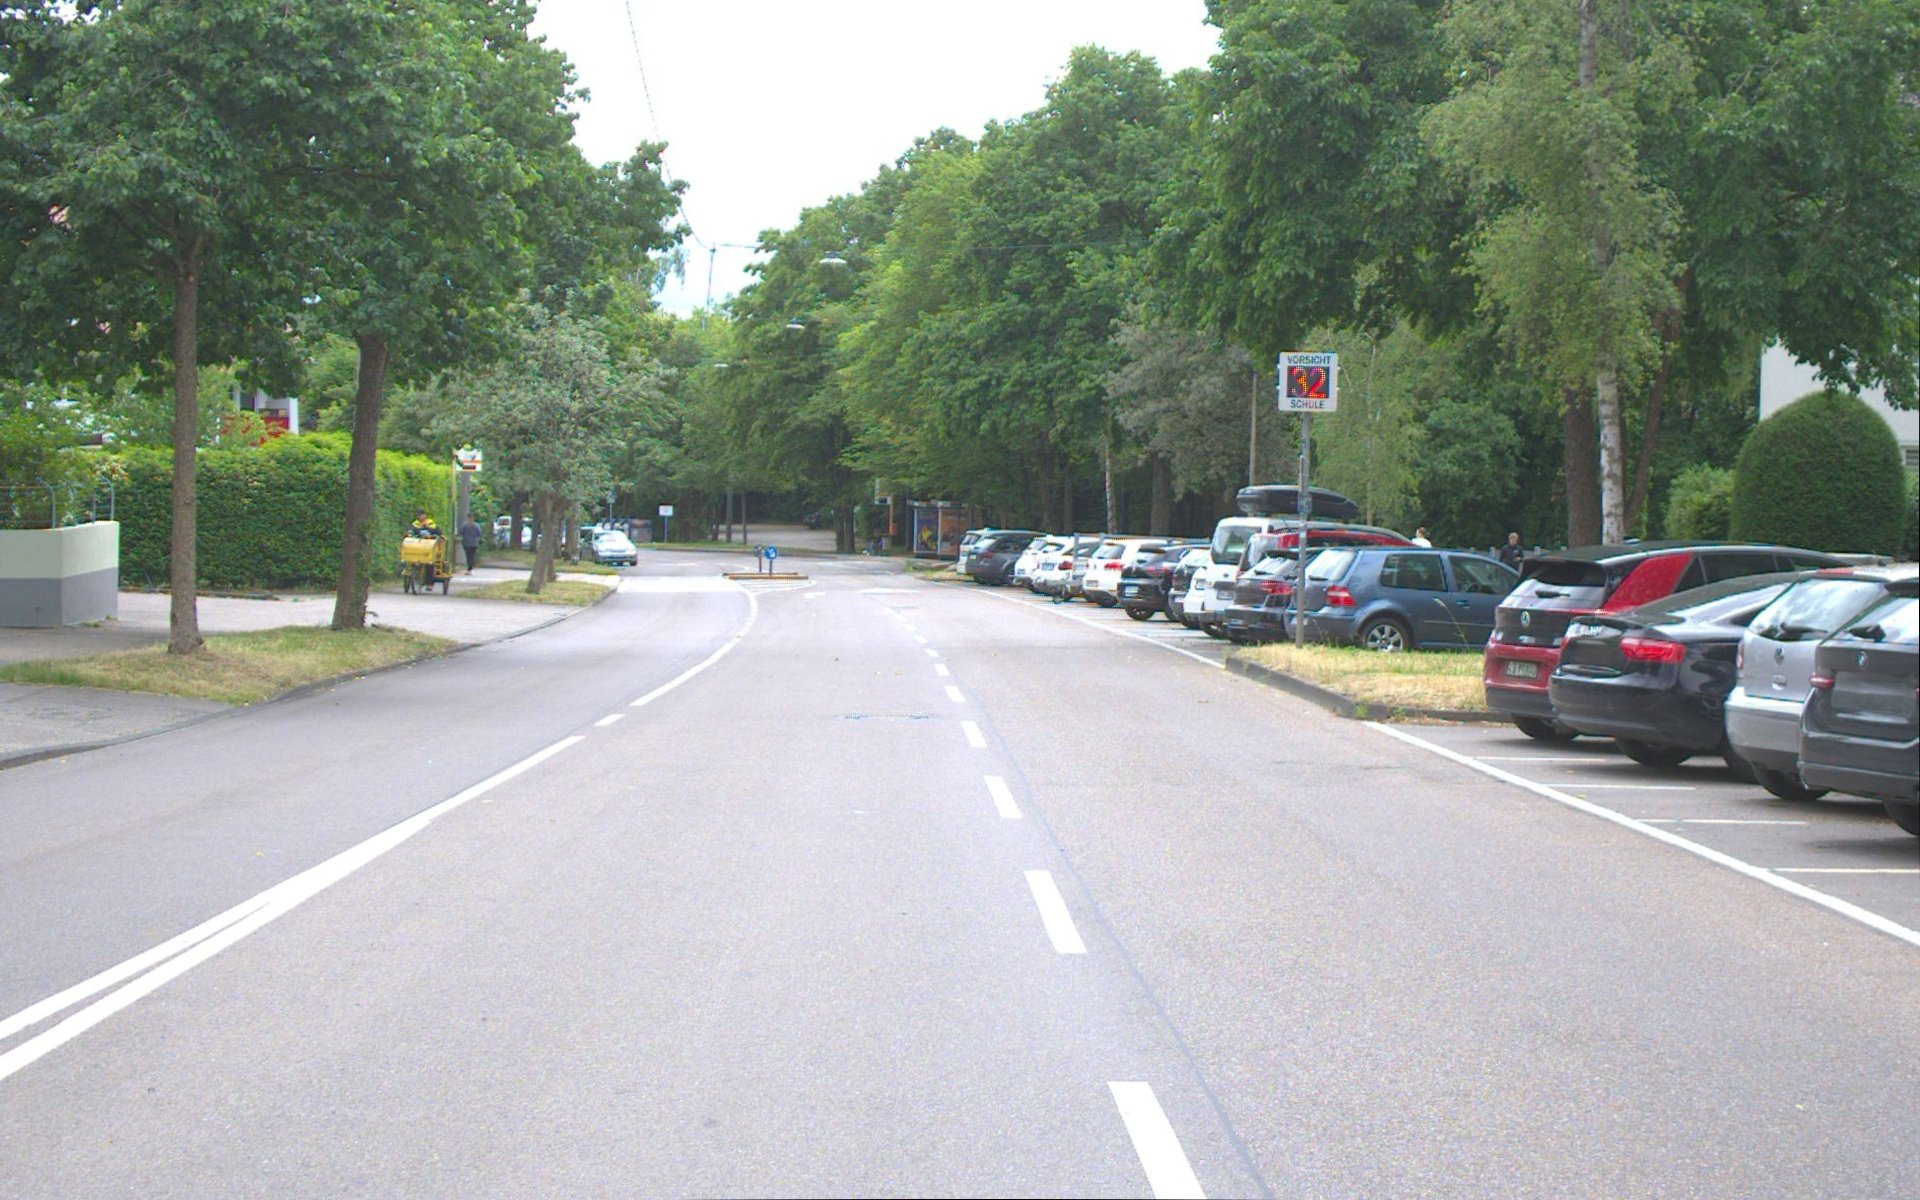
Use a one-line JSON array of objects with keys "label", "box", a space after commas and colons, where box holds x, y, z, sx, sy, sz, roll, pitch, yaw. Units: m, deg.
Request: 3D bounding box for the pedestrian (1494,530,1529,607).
[{"label": "pedestrian", "box": [11.596, -0.663, 72.303, 0.649, 1.598, 0.743, 1, 1, 4]}]

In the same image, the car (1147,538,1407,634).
[{"label": "car", "box": [5.304, -0.232, 57.597, 3.883, 1.444, 1.845, 2, 1, -21]}]

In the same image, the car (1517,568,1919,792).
[{"label": "car", "box": [6.060, 0.536, 22.734, 4.311, 1.336, 1.734, 2, 1, -14]}]

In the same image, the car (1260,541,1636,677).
[{"label": "car", "box": [5.749, 0.102, 40.638, 3.963, 1.400, 1.757, 2, 1, -15]}]

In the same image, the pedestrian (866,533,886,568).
[{"label": "pedestrian", "box": [-3.770, -2.241, 154.457, 0.741, 1.564, 0.651, 1, 1, 10]}]

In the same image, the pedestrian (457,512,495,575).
[{"label": "pedestrian", "box": [-13.274, -1.553, 94.295, 0.974, 1.724, 0.849, 1, 1, -5]}]

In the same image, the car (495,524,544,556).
[{"label": "car", "box": [-21.398, -2.913, 166.818, 1.866, 1.466, 4.001, 1, 1, -14]}]

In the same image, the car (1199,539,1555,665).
[{"label": "car", "box": [5.236, 0.025, 43.219, 4.026, 1.400, 1.757, 2, 1, -19]}]

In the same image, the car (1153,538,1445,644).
[{"label": "car", "box": [5.185, -0.148, 52.751, 3.965, 1.444, 1.919, 2, 1, -16]}]

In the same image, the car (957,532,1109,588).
[{"label": "car", "box": [2.049, -1.128, 96.917, 3.883, 1.424, 1.744, 1, 1, -20]}]

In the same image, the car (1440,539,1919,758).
[{"label": "car", "box": [5.810, 0.353, 25.631, 4.070, 1.510, 1.734, 1, 1, -23]}]

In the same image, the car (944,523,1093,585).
[{"label": "car", "box": [1.693, -1.335, 99.697, 3.883, 1.662, 1.744, 1, 1, -20]}]

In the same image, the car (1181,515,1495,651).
[{"label": "car", "box": [5.399, -0.240, 49.033, 4.085, 1.748, 1.787, 2, 1, -27]}]

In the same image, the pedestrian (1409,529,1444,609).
[{"label": "pedestrian", "box": [9.808, -0.660, 72.282, 0.649, 1.665, 0.743, 1, 1, 5]}]

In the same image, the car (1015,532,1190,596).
[{"label": "car", "box": [3.493, -0.888, 84.361, 3.883, 1.424, 1.744, 1, 1, -20]}]

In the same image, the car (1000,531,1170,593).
[{"label": "car", "box": [3.148, -0.959, 86.932, 3.883, 1.424, 1.744, 1, 1, -20]}]

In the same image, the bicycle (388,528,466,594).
[{"label": "bicycle", "box": [-10.810, -0.808, 69.868, 0.845, 1.262, 2.651, 2, 2, 7]}]

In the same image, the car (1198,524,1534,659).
[{"label": "car", "box": [5.426, -0.117, 46.108, 3.995, 1.614, 1.885, 2, 1, -17]}]

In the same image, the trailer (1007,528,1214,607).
[{"label": "trailer", "box": [3.317, -0.712, 75.885, 4.153, 1.568, 1.712, 2, 1, -20]}]

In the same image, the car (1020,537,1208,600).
[{"label": "car", "box": [3.520, -0.710, 78.577, 3.883, 1.305, 1.744, 1, 1, -25]}]

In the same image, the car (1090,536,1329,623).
[{"label": "car", "box": [4.534, -0.372, 62.510, 3.883, 1.444, 1.845, 1, 1, -24]}]

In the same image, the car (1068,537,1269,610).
[{"label": "car", "box": [4.462, -0.566, 73.726, 3.883, 1.444, 1.744, 1, 1, -22]}]

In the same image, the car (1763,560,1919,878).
[{"label": "car", "box": [6.408, 0.609, 17.196, 4.343, 1.440, 1.635, 2, 2, -15]}]

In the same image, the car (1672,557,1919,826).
[{"label": "car", "box": [6.221, 0.542, 20.165, 3.609, 1.440, 1.635, 2, 1, -16]}]

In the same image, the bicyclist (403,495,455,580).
[{"label": "bicyclist", "box": [-10.789, -1.278, 69.924, 0.845, 1.691, 0.713, 2, 2, 6]}]

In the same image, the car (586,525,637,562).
[{"label": "car", "box": [-14.082, -2.286, 138.678, 1.866, 1.466, 4.001, 1, 1, -8]}]
